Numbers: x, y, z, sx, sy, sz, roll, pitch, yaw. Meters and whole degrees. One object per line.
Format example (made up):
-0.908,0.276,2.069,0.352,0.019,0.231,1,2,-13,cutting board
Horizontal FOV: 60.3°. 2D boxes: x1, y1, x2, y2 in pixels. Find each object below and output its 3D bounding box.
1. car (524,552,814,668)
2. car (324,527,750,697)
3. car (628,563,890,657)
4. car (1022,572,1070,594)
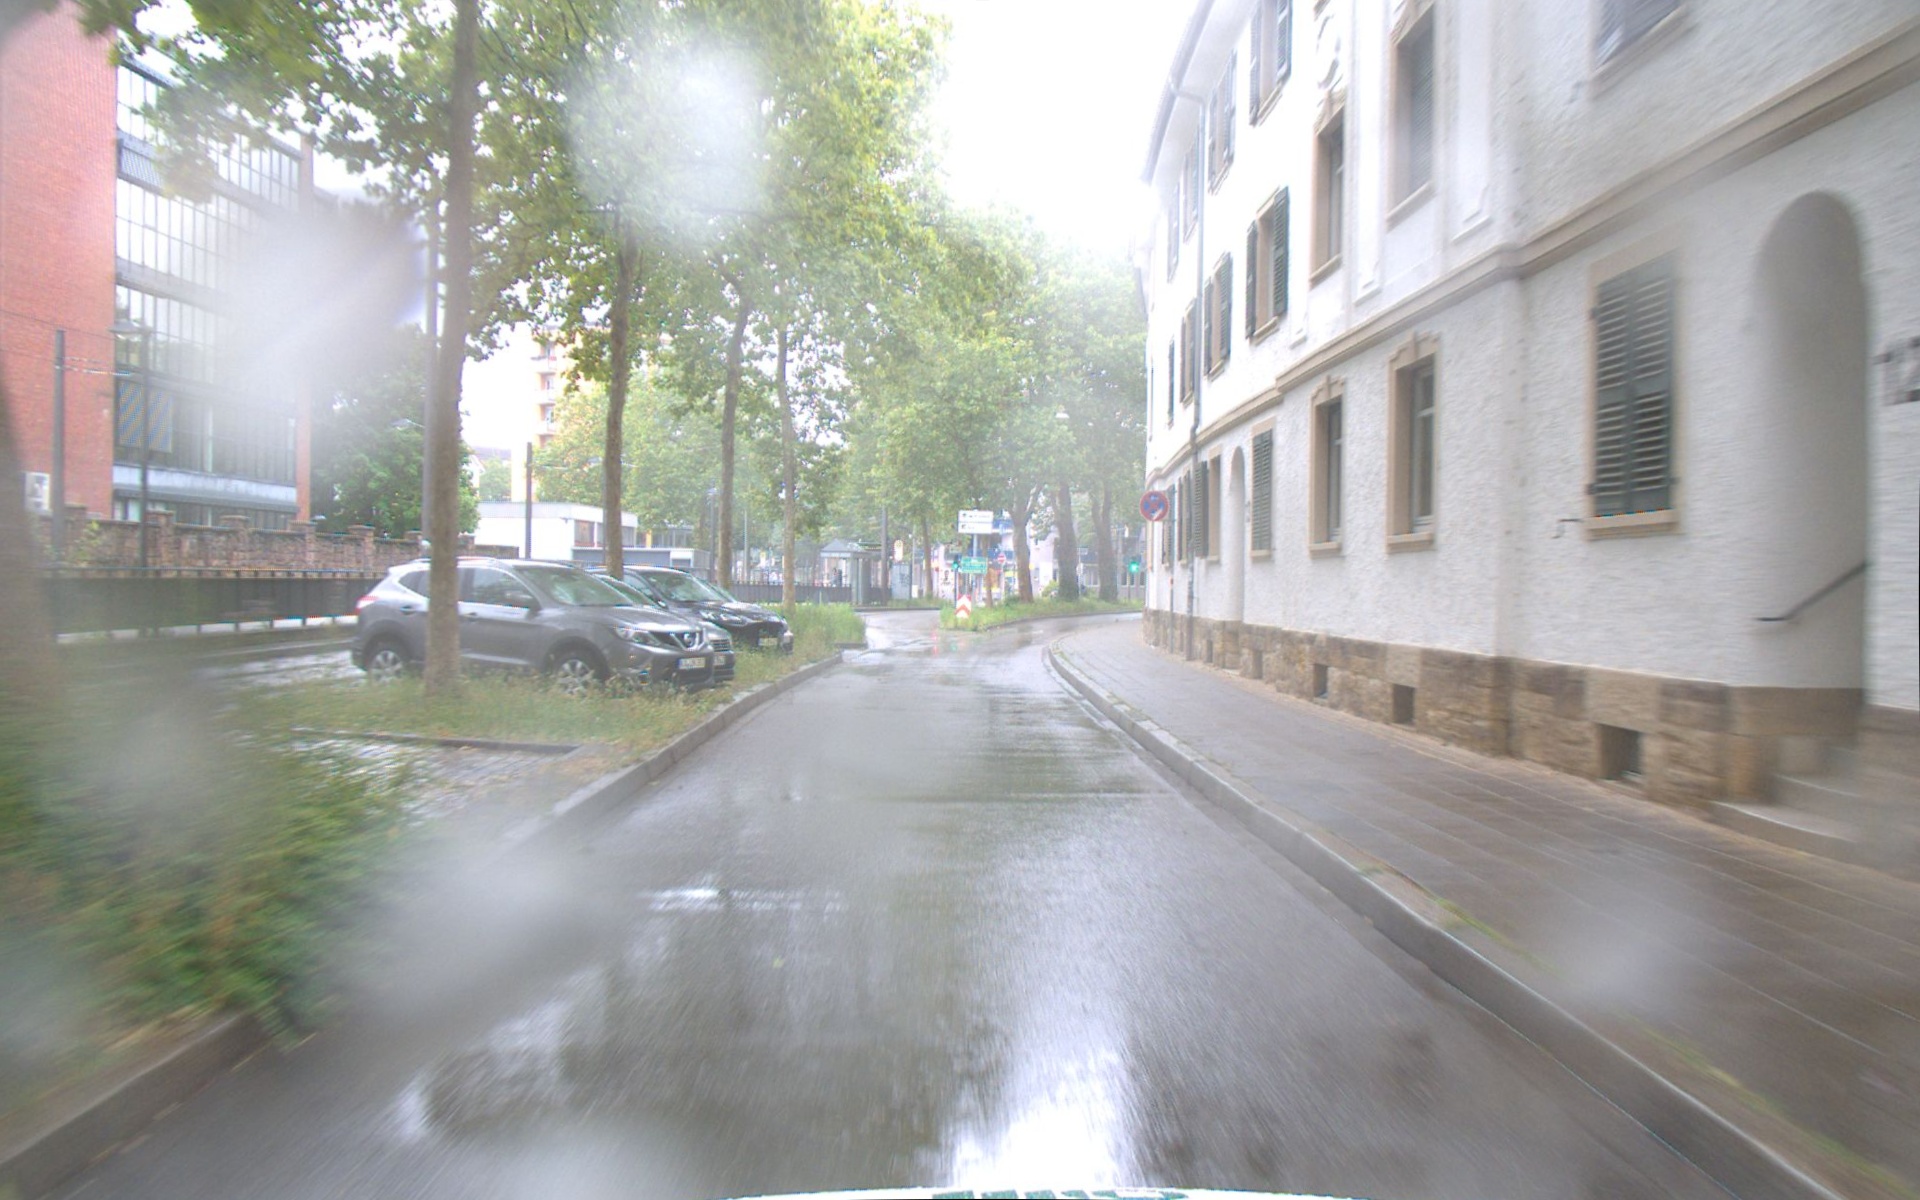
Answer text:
-4.751,0.117,26.866,4.434,1.744,1.957,0,1,30,car
-4.743,0.089,18.509,4.371,1.625,1.922,2,0,25,car
-3.554,0.136,29.095,4.270,1.539,1.957,0,1,30,car
7.595,-1.480,145.370,3.968,1.625,1.969,4,-1,-44,car
